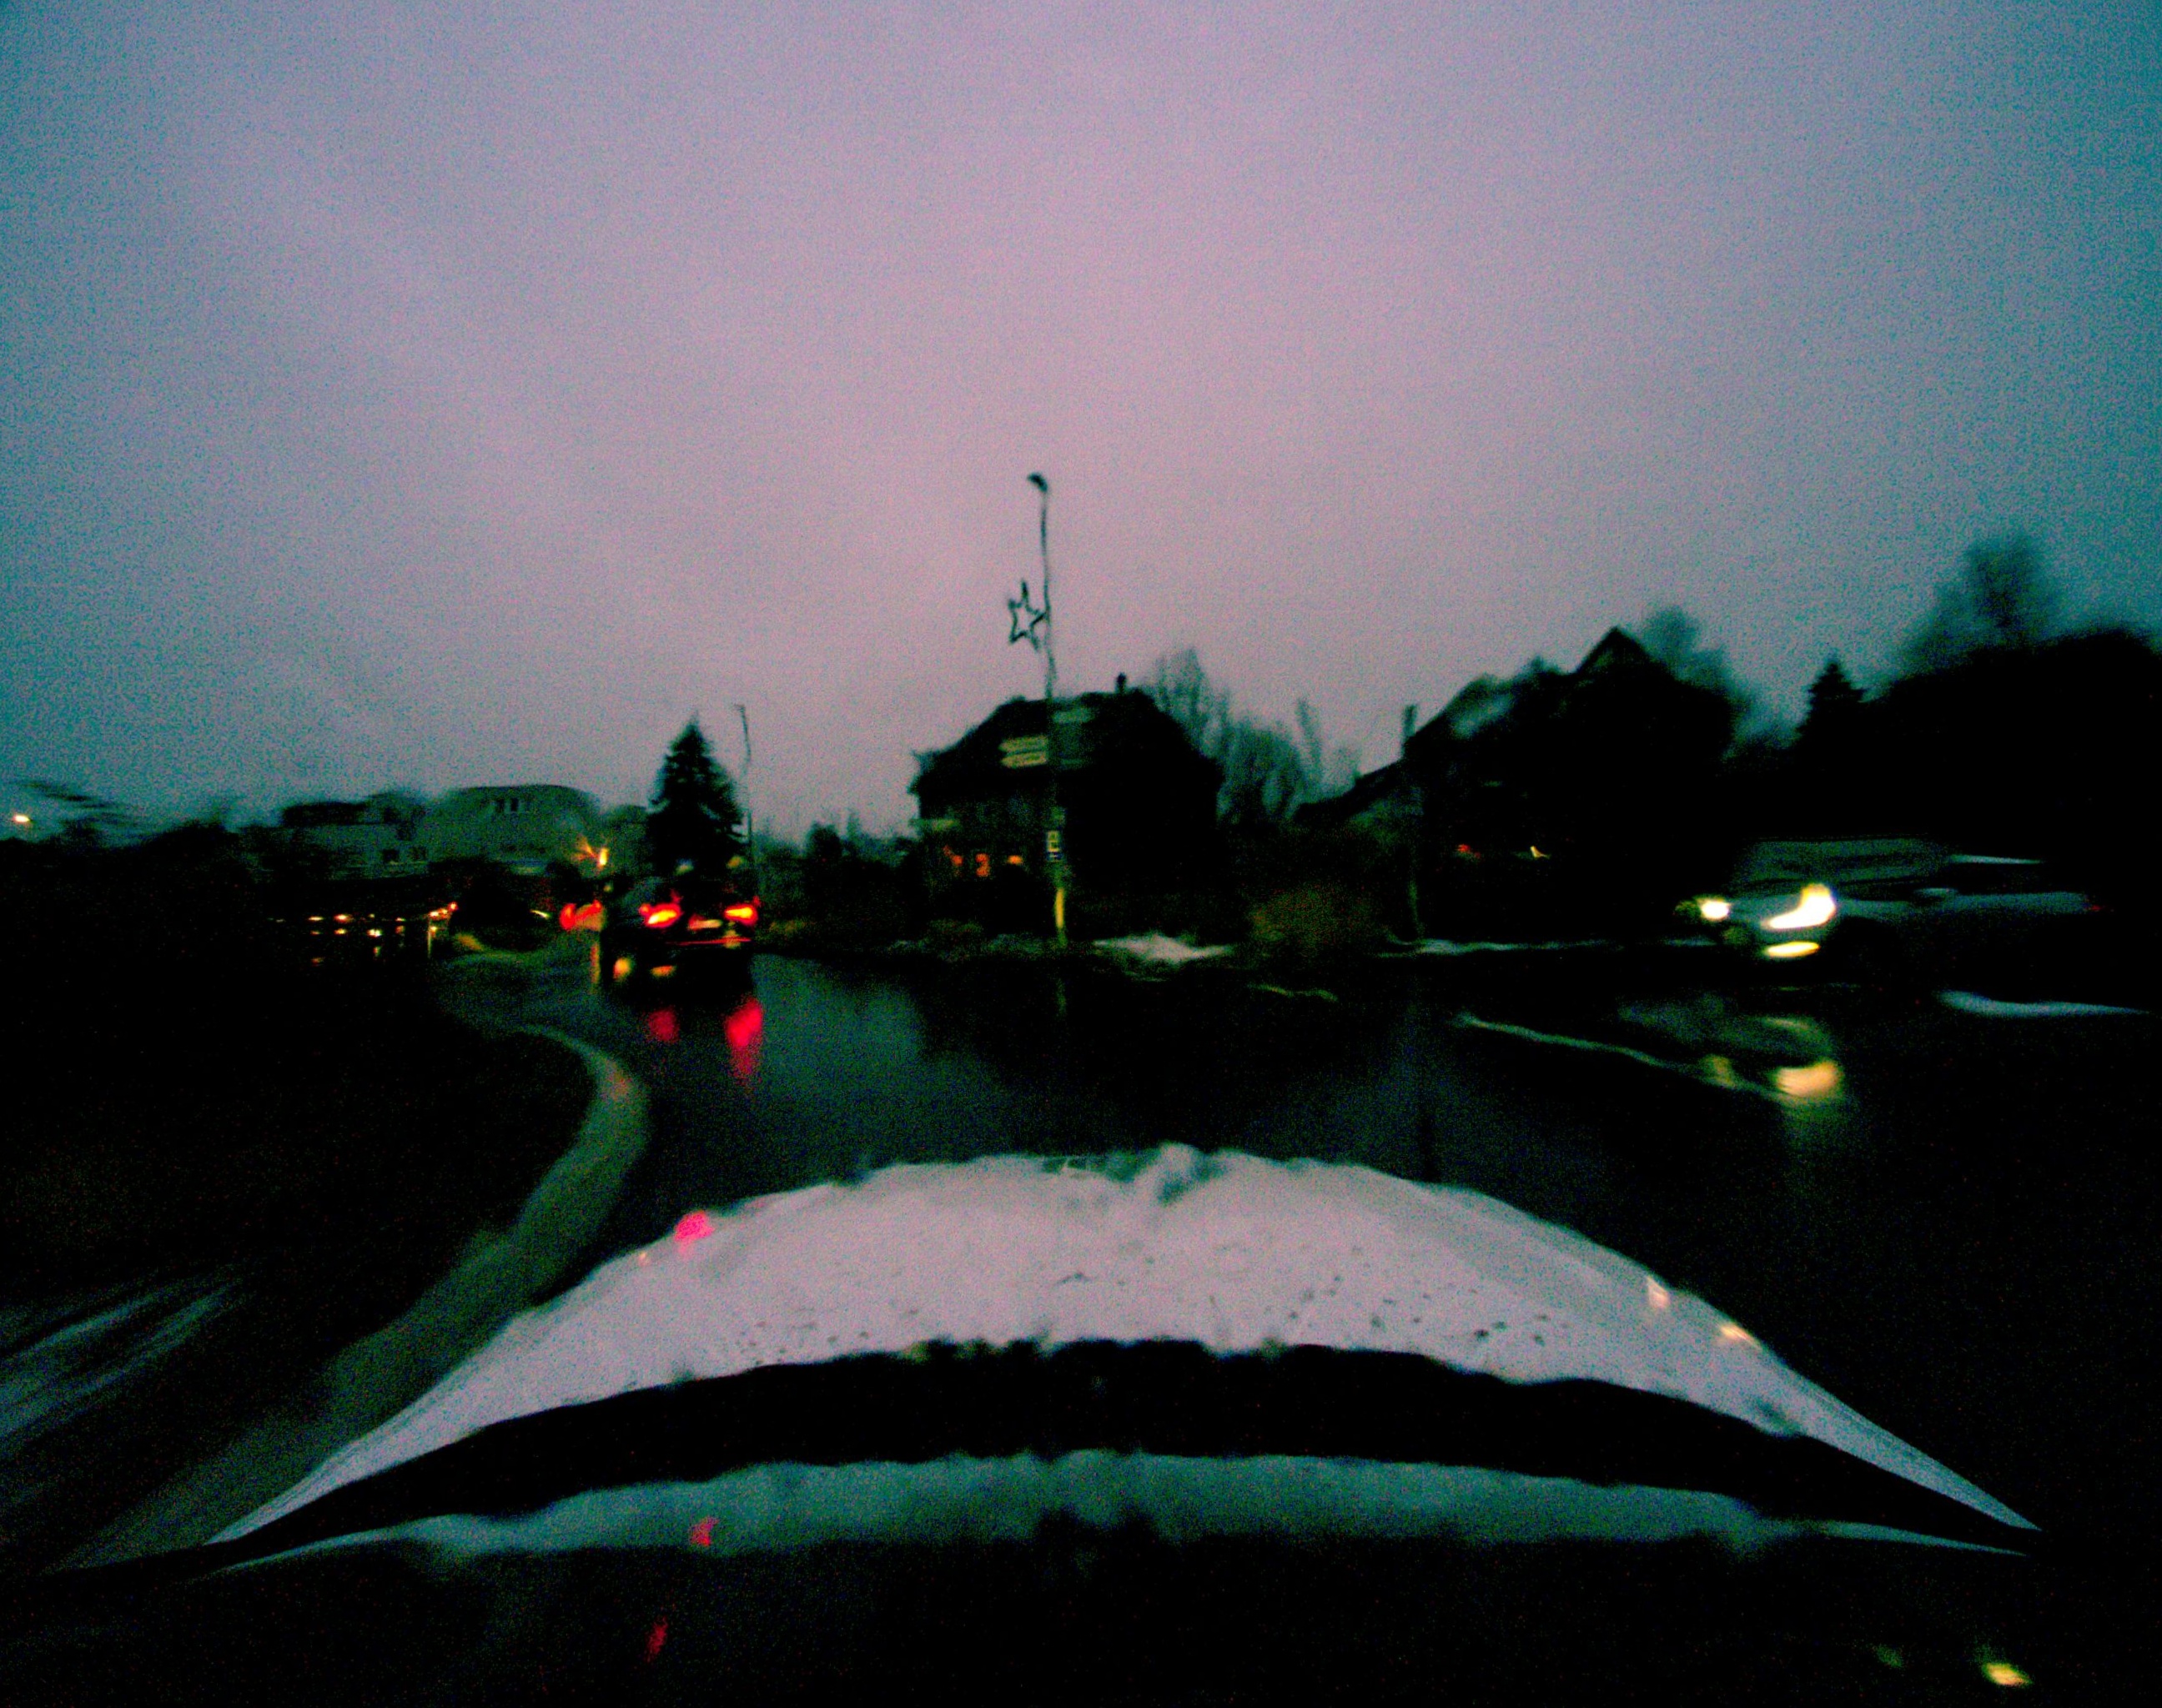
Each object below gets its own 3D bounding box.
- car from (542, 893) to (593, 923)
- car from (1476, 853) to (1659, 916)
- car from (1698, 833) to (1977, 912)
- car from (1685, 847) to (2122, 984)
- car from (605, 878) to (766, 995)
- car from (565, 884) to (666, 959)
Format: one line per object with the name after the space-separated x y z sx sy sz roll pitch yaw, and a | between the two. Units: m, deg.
-30.947 3.278 49.014 1.899 1.548 4.516 -2 -3 -41 | car
17.008 1.099 28.783 5.263 1.865 2.383 -4 -1 29 | car
20.179 0.554 22.123 5.180 1.919 1.951 -2 -2 31 | car
9.910 0.716 10.033 3.688 1.492 1.662 -1 -2 -1 | car
-7.234 1.346 14.698 1.959 1.718 3.956 -2 -1 -35 | car
-13.342 1.835 23.616 2.175 1.689 4.532 -3 1 -26 | car
